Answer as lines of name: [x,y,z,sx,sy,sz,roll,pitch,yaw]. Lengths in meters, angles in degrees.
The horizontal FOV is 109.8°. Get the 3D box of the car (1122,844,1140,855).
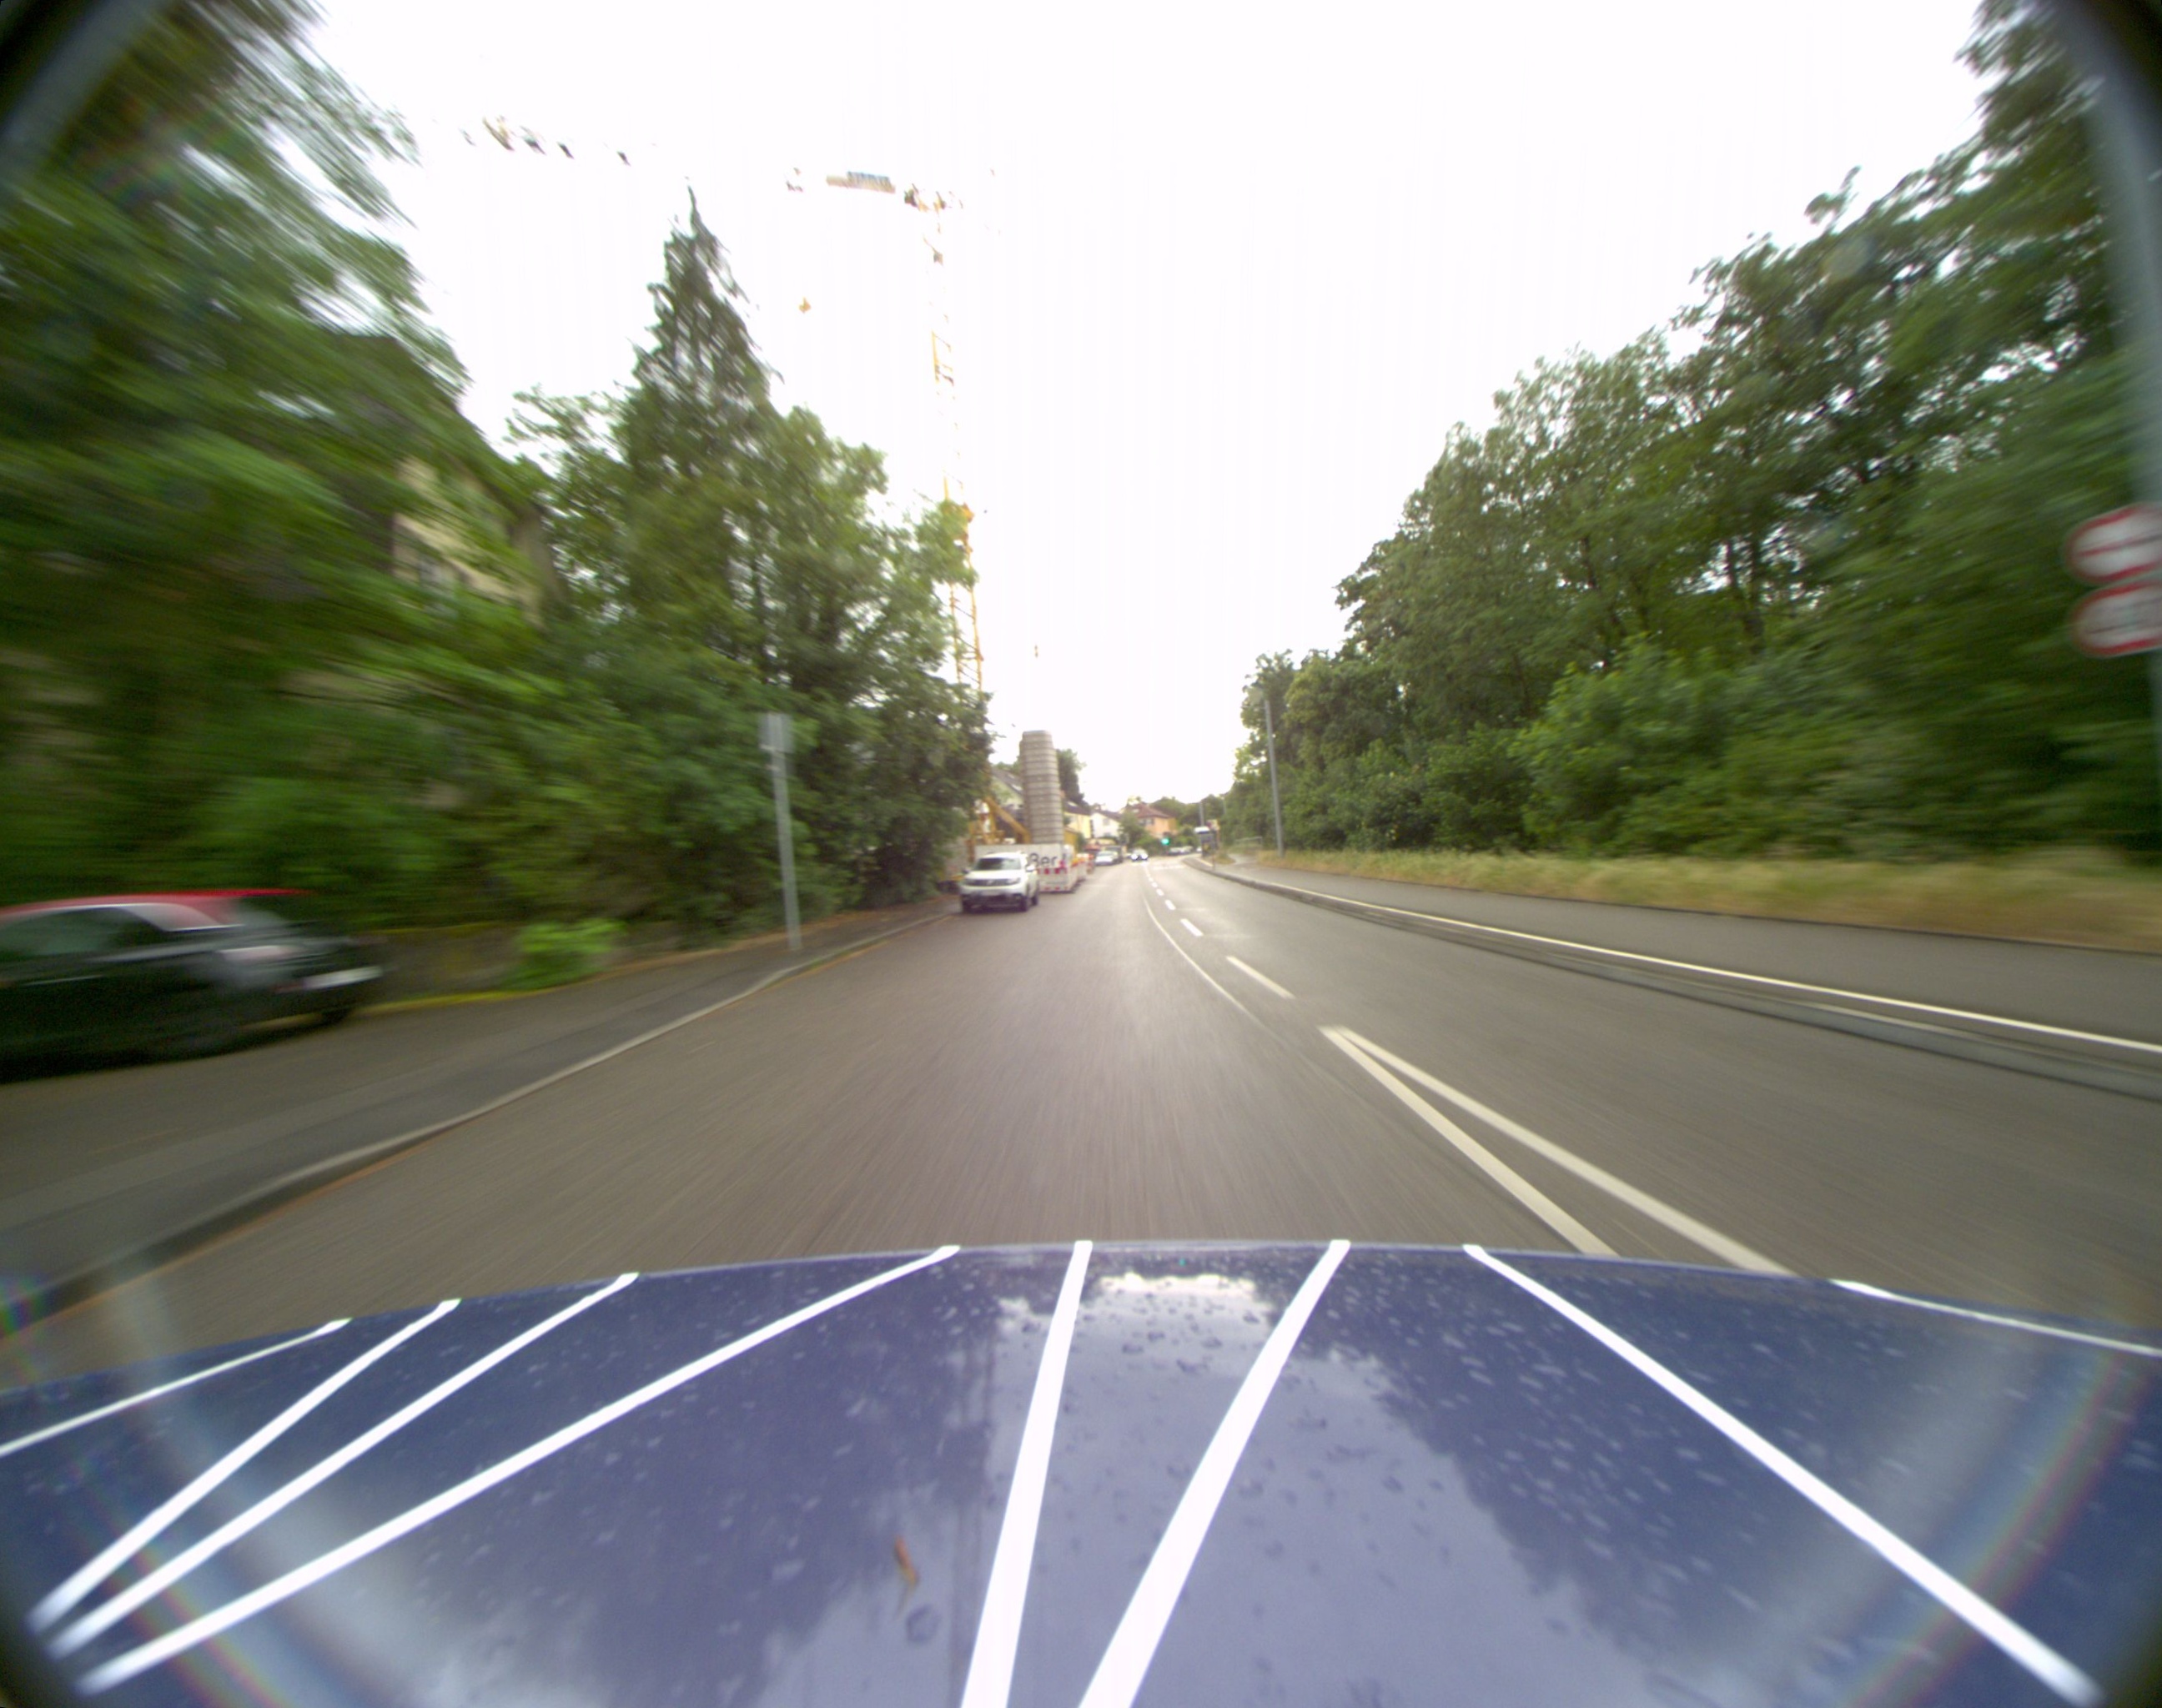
car: [8.795,-0.749,132.892,1.934,1.587,4.346,-5,1,20]

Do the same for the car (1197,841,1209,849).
car: [26.149,-1.869,162.822,1.815,1.390,4.107,-4,1,21]

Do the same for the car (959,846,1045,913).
car: [-2.174,0.646,22.041,1.749,1.696,4.502,-2,1,3]

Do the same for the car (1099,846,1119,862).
car: [2.961,-0.023,79.171,1.676,1.449,3.387,-3,1,8]

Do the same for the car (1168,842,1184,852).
car: [17.109,-1.231,136.727,1.754,1.435,4.605,-4,1,20]

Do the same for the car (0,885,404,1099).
car: [-8.968,1.217,6.729,4.000,1.487,1.771,-5,0,-11]

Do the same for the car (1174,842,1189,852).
car: [18.755,-1.311,141.750,1.795,1.478,4.500,-4,1,19]
